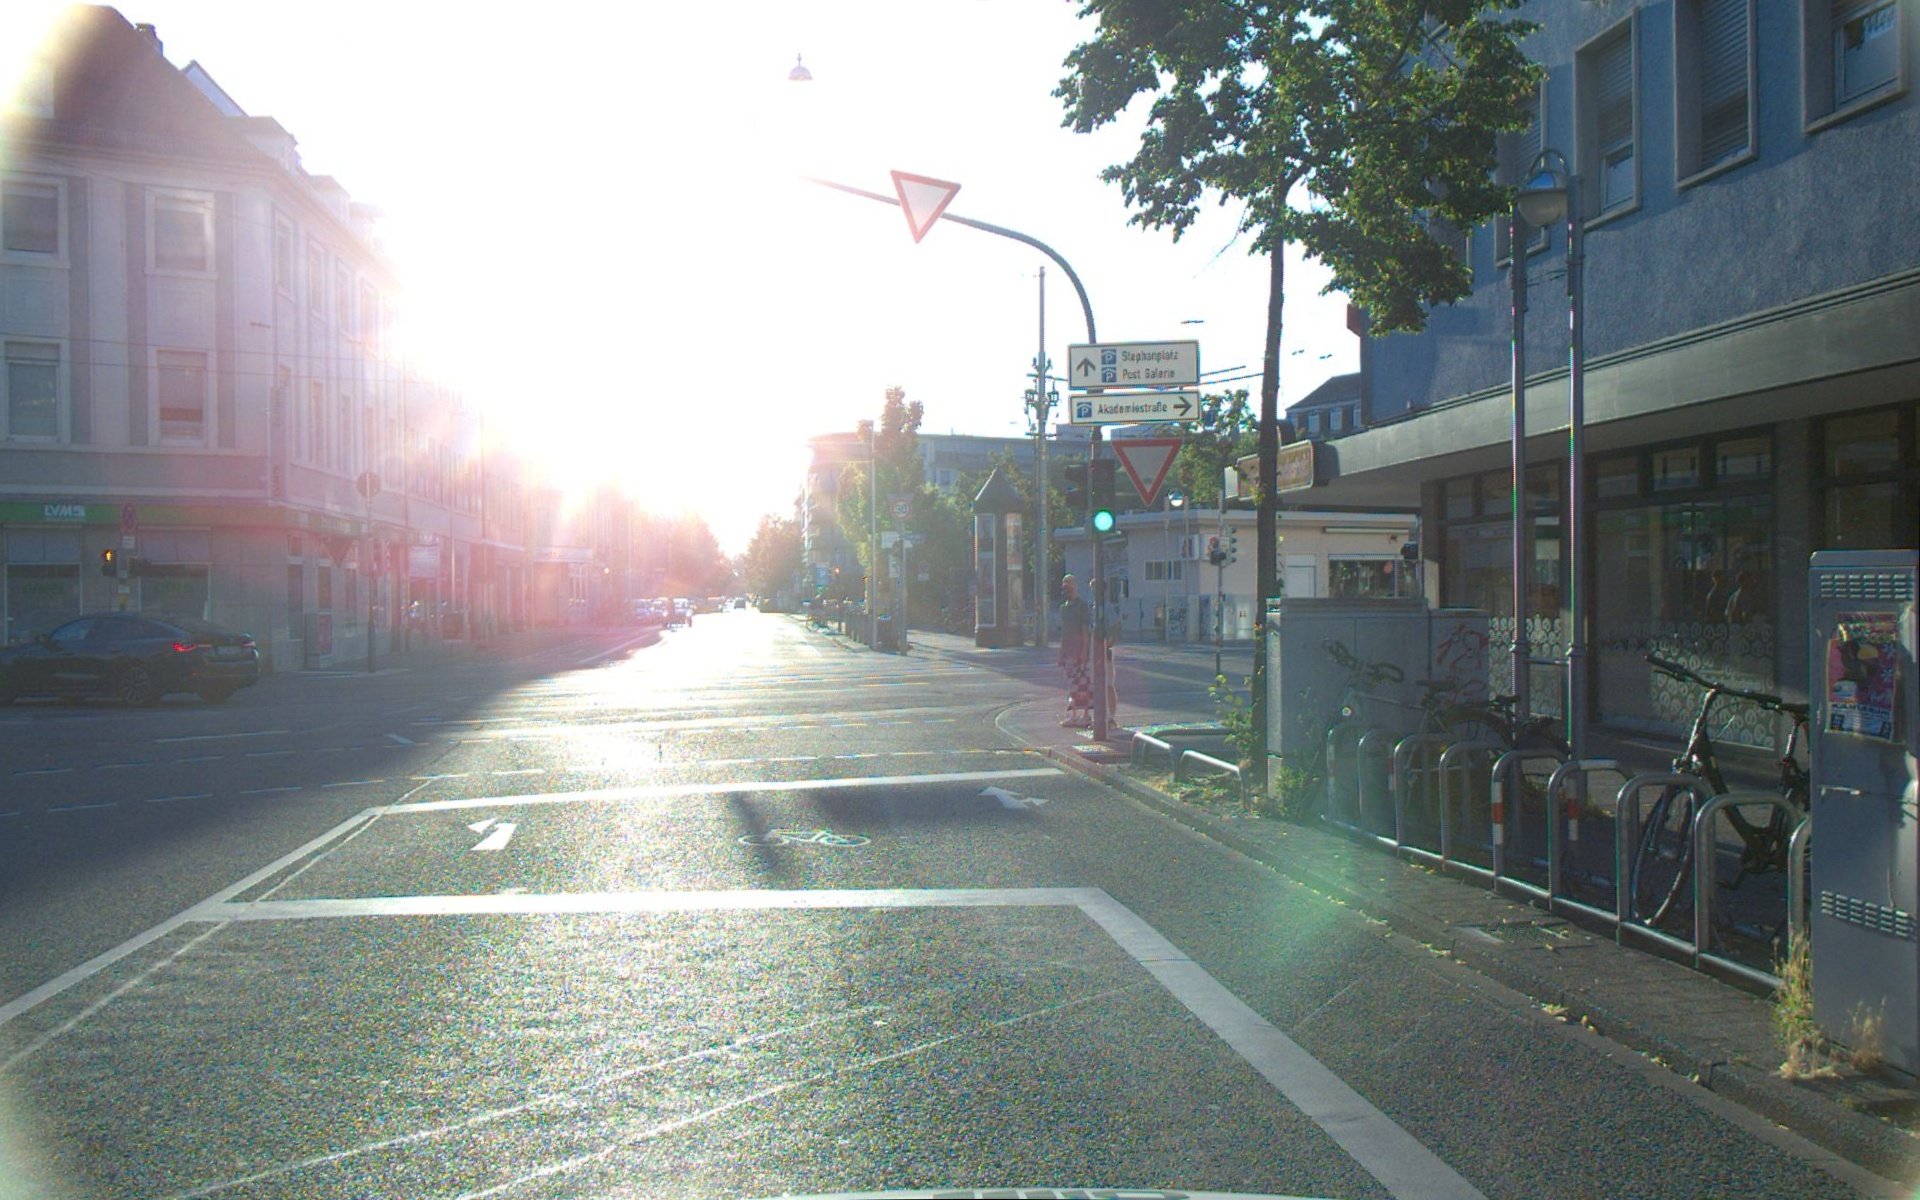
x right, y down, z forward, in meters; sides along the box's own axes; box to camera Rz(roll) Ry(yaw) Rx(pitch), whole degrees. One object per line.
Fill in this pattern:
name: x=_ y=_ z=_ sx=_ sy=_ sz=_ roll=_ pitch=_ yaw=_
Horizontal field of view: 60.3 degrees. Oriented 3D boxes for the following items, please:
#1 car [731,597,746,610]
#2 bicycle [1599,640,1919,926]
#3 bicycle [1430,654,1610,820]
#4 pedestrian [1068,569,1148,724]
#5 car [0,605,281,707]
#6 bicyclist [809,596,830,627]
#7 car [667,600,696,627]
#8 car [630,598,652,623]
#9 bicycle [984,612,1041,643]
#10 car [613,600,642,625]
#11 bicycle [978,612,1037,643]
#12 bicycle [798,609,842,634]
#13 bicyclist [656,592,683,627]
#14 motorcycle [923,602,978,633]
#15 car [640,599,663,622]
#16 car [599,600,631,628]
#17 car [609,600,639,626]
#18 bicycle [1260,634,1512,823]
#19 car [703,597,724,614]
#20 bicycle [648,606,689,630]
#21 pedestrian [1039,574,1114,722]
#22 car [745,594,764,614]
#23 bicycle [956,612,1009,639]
car: x=-32.442 y=0.451 z=242.473 sx=1.955 sy=1.847 sz=3.995 roll=-1 pitch=0 yaw=-6
bicycle: x=3.812 y=0.813 z=7.740 sx=1.632 sy=1.215 sz=0.491 roll=0 pitch=0 yaw=-21
bicycle: x=3.986 y=0.942 z=11.898 sx=0.396 sy=1.028 sz=1.665 roll=-2 pitch=1 yaw=-13
pedestrian: x=1.767 y=0.538 z=19.740 sx=0.630 sy=1.804 sz=0.742 roll=-1 pitch=0 yaw=-28
car: x=-13.238 y=0.859 z=26.152 sx=4.432 sy=1.506 sz=1.897 roll=0 pitch=-1 yaw=17
bicyclist: x=-6.934 y=0.579 z=81.716 sx=0.880 sy=1.507 sz=0.735 roll=1 pitch=-1 yaw=6
car: x=-15.651 y=0.772 z=93.174 sx=1.516 sy=1.493 sz=3.345 roll=0 pitch=-1 yaw=-8
car: x=-20.942 y=0.710 z=108.552 sx=1.282 sy=1.610 sz=2.883 roll=0 pitch=-1 yaw=-8
bicycle: x=1.830 y=0.975 z=58.196 sx=1.978 sy=1.062 sz=0.560 roll=-1 pitch=-1 yaw=0
car: x=-20.470 y=0.775 z=101.858 sx=1.516 sy=1.495 sz=3.345 roll=0 pitch=-1 yaw=-8
bicycle: x=1.708 y=0.986 z=59.256 sx=2.103 sy=1.062 sz=0.560 roll=-1 pitch=-1 yaw=0
bicycle: x=-6.925 y=1.063 z=81.687 sx=2.073 sy=1.225 sz=0.500 roll=1 pitch=-1 yaw=6
bicyclist: x=-15.197 y=0.494 z=86.515 sx=1.105 sy=1.822 sz=0.765 roll=1 pitch=-1 yaw=15
motorcycle: x=-0.394 y=0.685 z=66.938 sx=2.189 sy=1.222 sz=0.720 roll=0 pitch=0 yaw=-2
car: x=-21.311 y=0.720 z=114.336 sx=1.455 sy=1.586 sz=3.252 roll=0 pitch=-1 yaw=-8
car: x=-19.416 y=0.757 z=93.282 sx=1.516 sy=1.509 sz=3.346 roll=-1 pitch=0 yaw=-8
car: x=-19.704 y=0.757 z=96.947 sx=1.516 sy=1.495 sz=3.345 roll=0 pitch=-1 yaw=-8
bicycle: x=2.890 y=0.847 z=11.226 sx=1.628 sy=1.215 sz=0.476 roll=0 pitch=0 yaw=-13
car: x=-25.153 y=0.584 z=168.826 sx=1.955 sy=1.713 sz=3.995 roll=-1 pitch=0 yaw=-6
bicycle: x=-15.234 y=0.952 z=86.550 sx=2.072 sy=1.225 sz=0.500 roll=1 pitch=-1 yaw=13
pedestrian: x=1.448 y=0.590 z=20.654 sx=0.581 sy=1.804 sz=0.739 roll=0 pitch=0 yaw=-38
car: x=-21.863 y=0.436 z=176.342 sx=1.956 sy=2.049 sz=3.993 roll=1 pitch=-1 yaw=-7
bicycle: x=0.860 y=0.983 z=63.886 sx=2.035 sy=0.999 sz=0.560 roll=-1 pitch=-1 yaw=0
